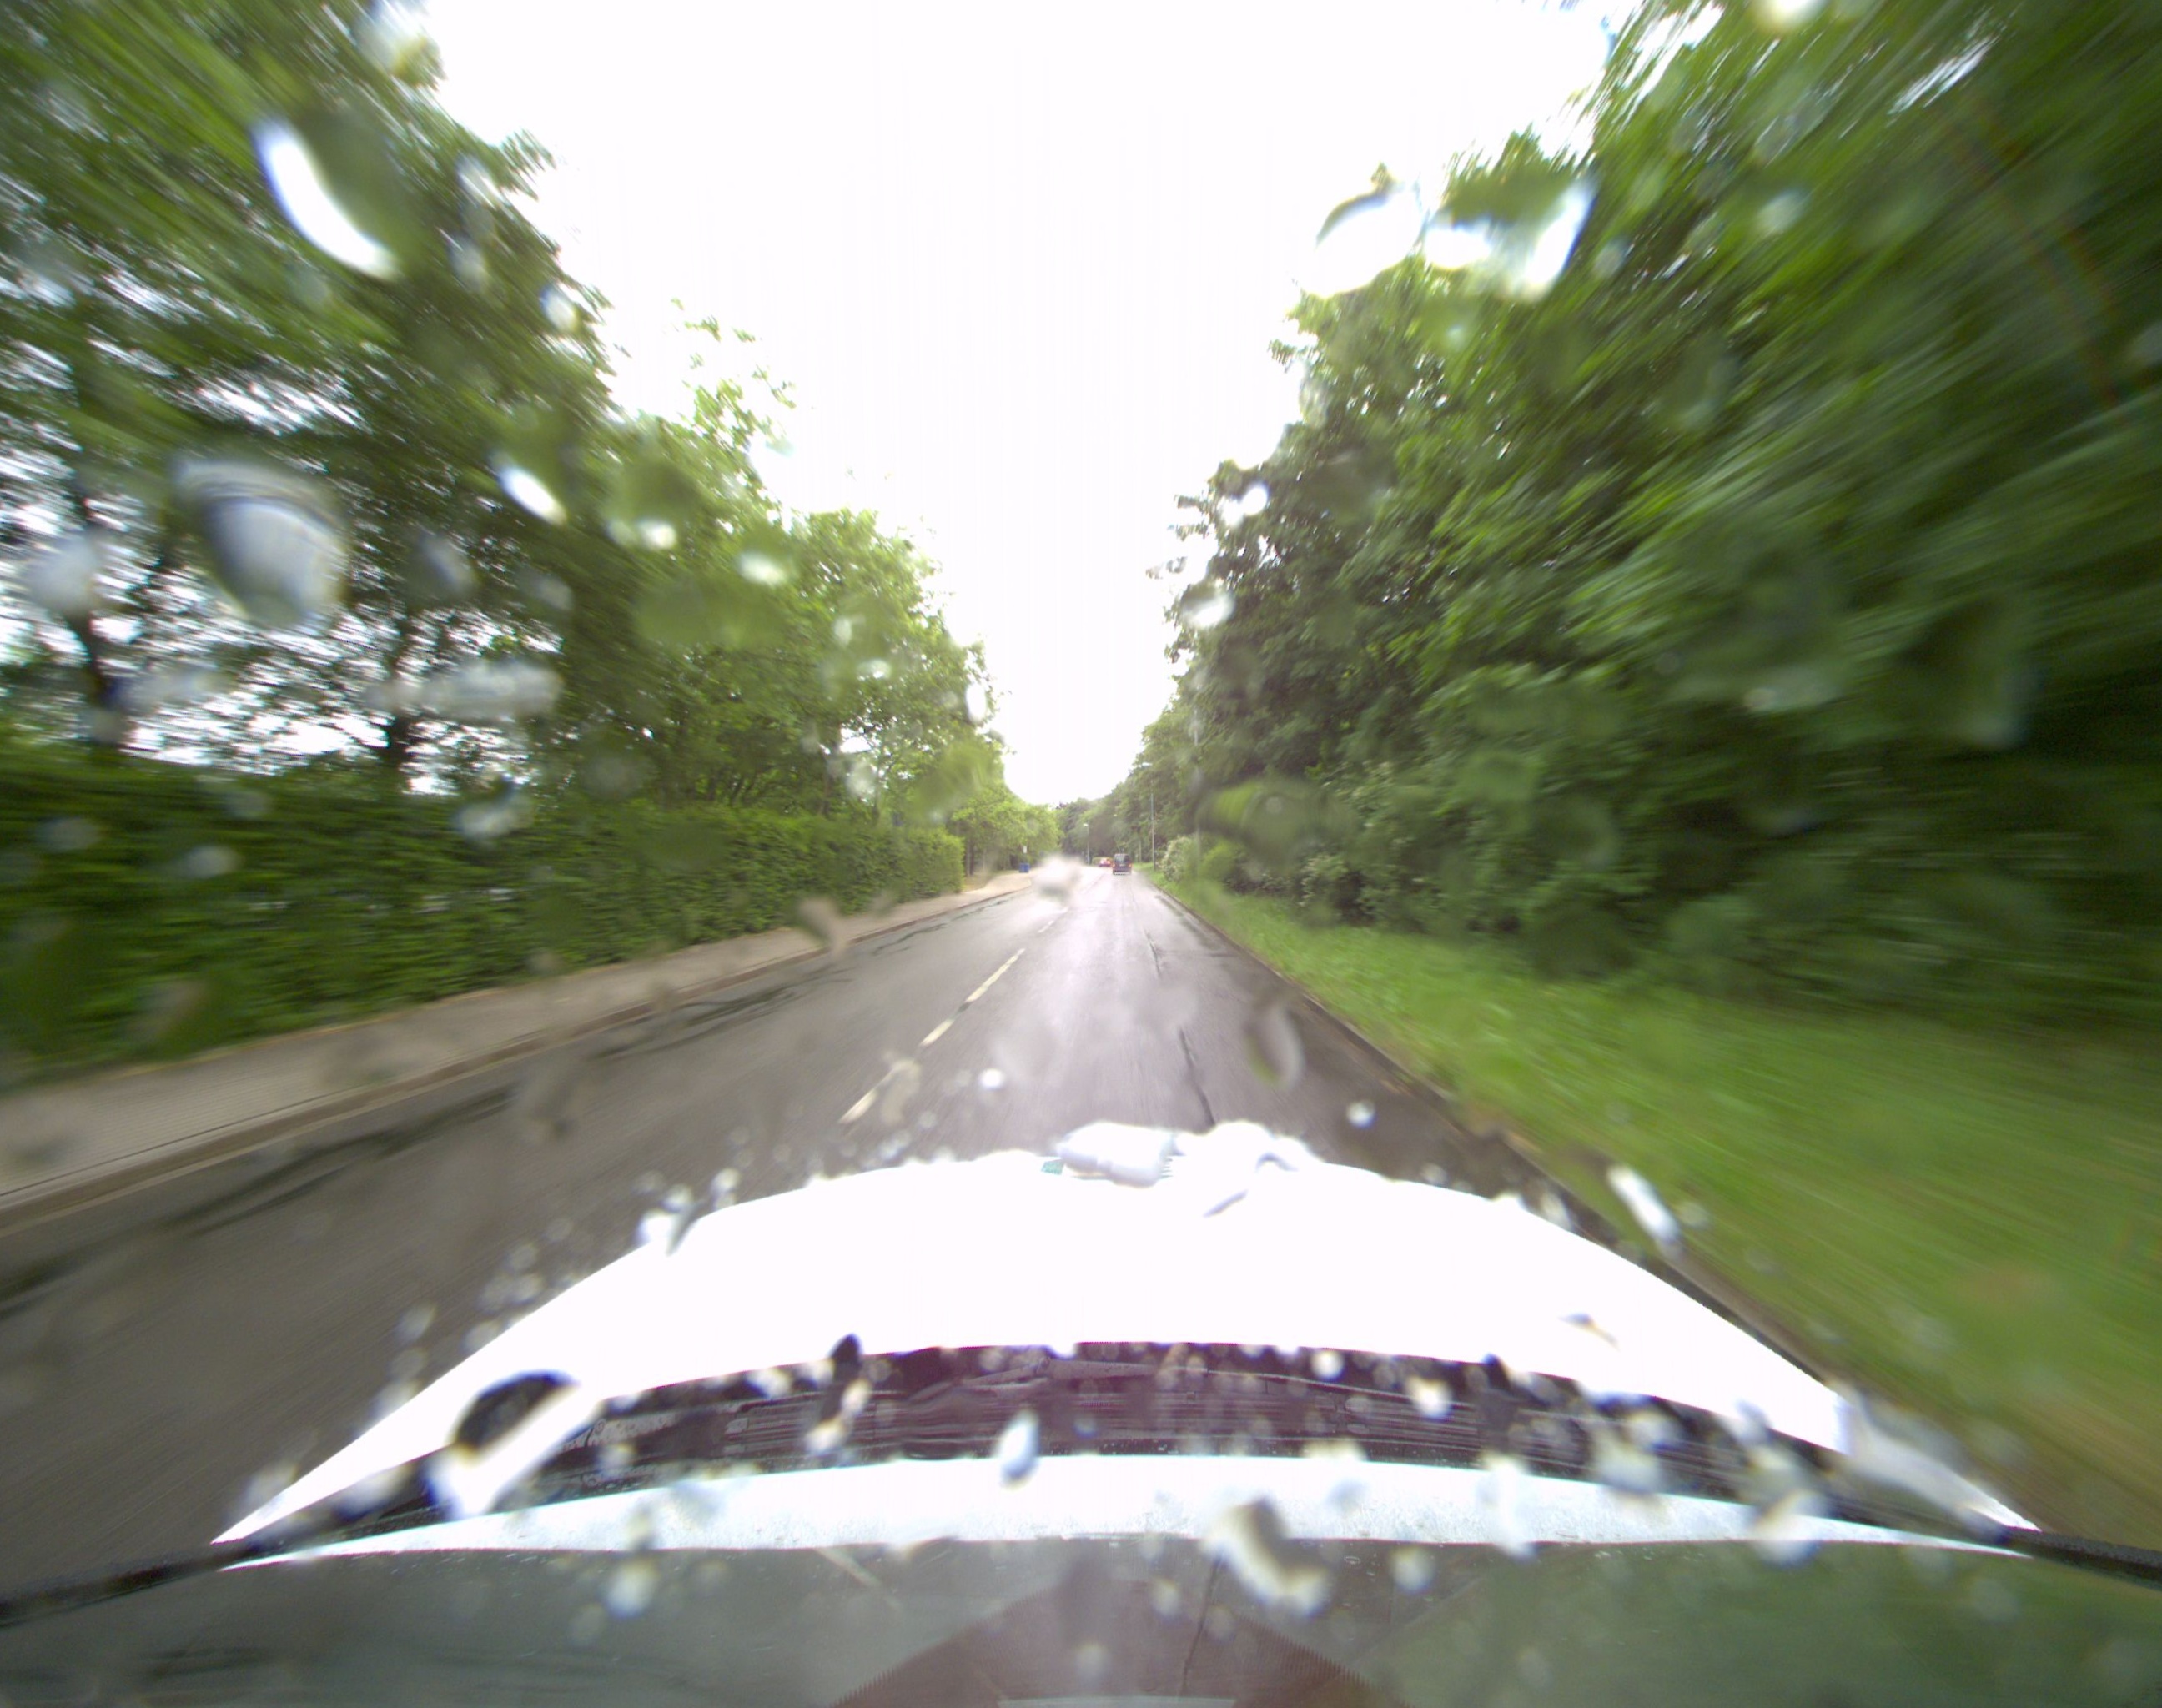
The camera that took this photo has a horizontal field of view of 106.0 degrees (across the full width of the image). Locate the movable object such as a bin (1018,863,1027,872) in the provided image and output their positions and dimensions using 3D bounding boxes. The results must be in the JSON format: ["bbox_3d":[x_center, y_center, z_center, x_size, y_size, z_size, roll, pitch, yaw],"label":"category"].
[{"bbox_3d":[-6.912,1.547,96.008,0.670,1.026,0.827,-3,0,-29],"label":"movable object such as a bin"}]

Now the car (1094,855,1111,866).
[{"bbox_3d":[3.689,1.042,139.851,1.995,1.772,3.983,-2,0,-12],"label":"car"}]

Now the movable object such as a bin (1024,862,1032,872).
[{"bbox_3d":[-6.288,1.538,96.351,0.670,1.026,0.827,-3,0,-29],"label":"movable object such as a bin"}]

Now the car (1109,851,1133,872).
[{"bbox_3d":[3.669,0.653,74.958,1.987,1.793,4.000,1,1,0],"label":"car"}]
